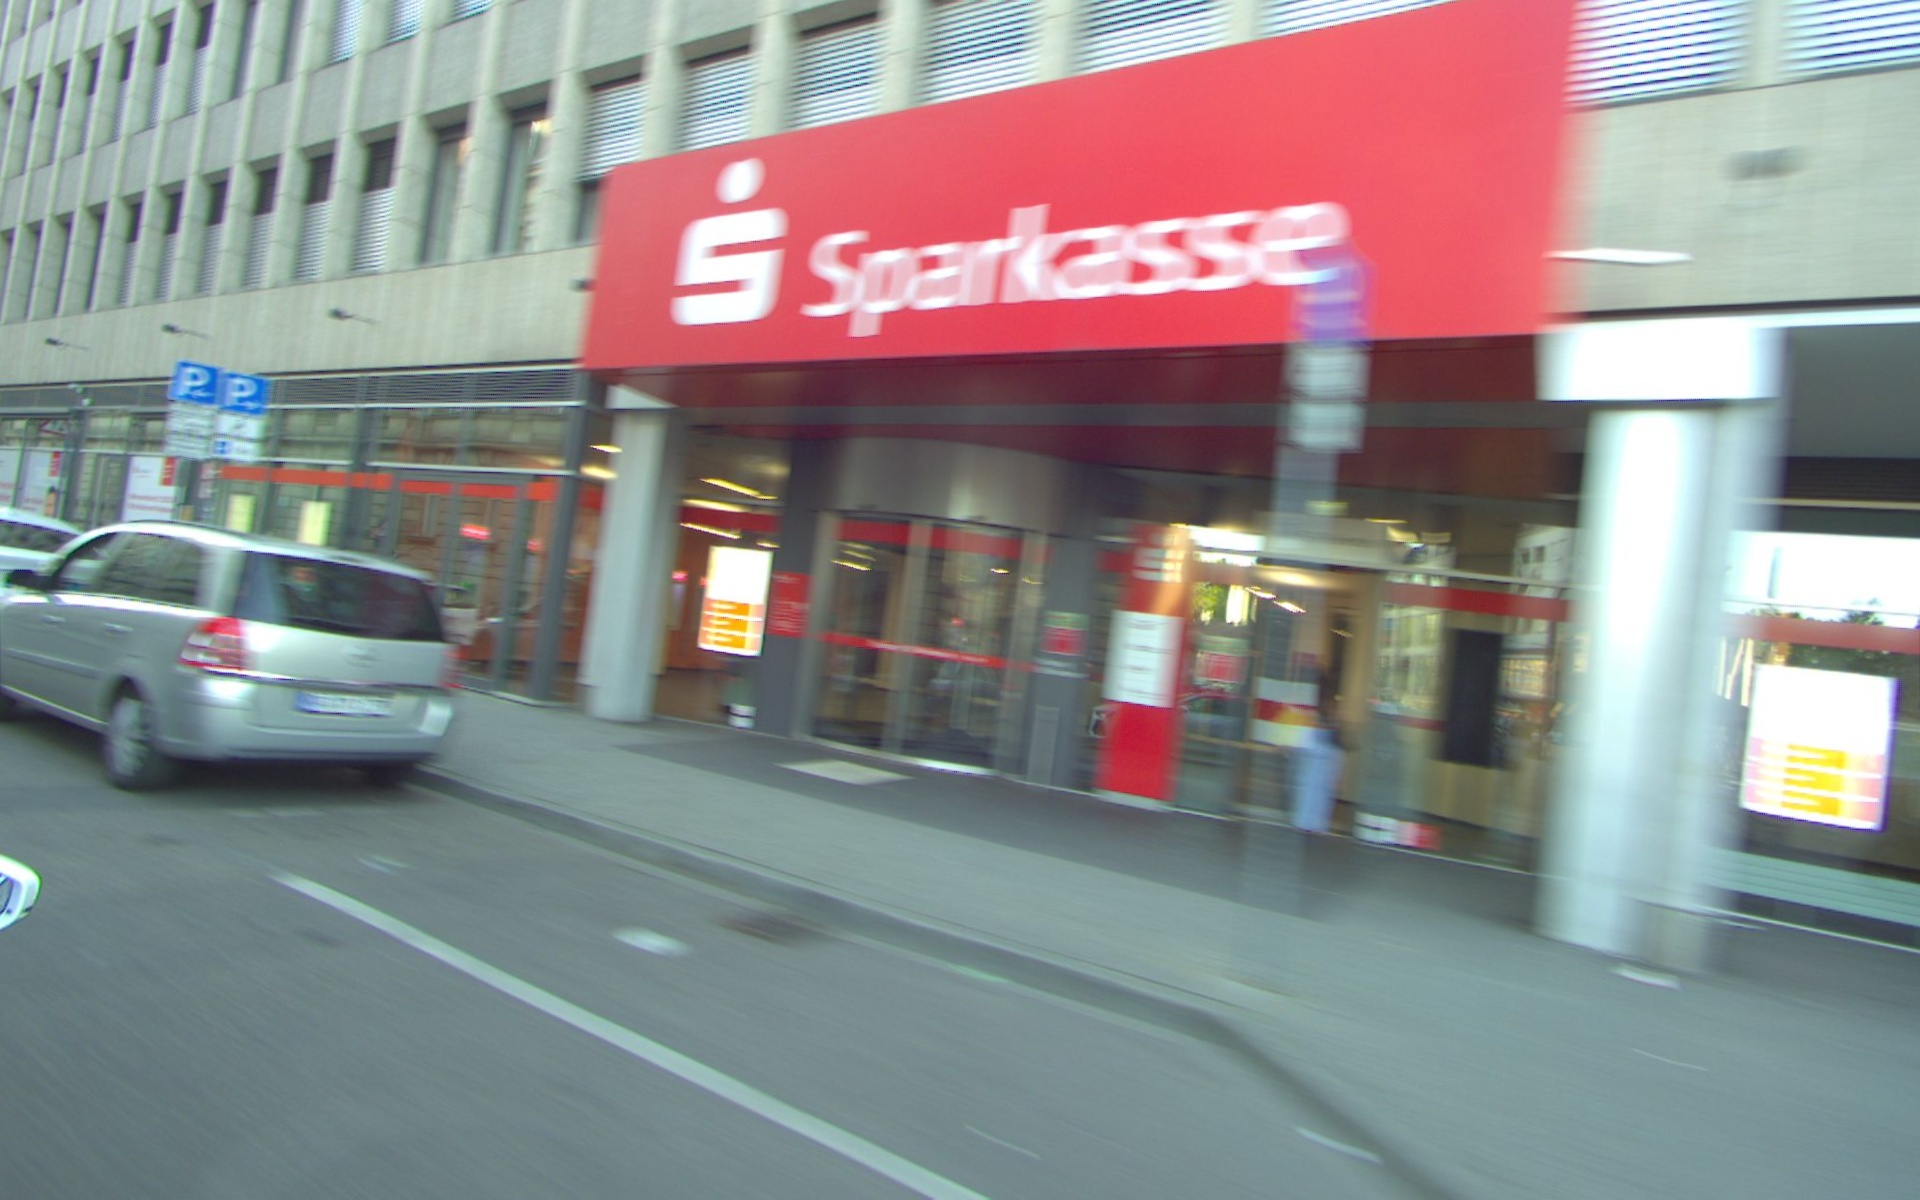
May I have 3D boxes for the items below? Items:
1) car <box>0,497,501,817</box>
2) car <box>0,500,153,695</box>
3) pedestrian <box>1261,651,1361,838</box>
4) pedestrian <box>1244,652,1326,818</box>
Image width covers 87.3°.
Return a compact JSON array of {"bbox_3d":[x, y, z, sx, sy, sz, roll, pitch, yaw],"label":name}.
[{"bbox_3d":[-5.681,0.278,7.391,4.636,1.615,1.745,6,-4,32],"label":"car"},{"bbox_3d":[-10.577,-0.212,10.324,4.731,1.683,1.782,5,-4,29],"label":"car"},{"bbox_3d":[3.475,1.408,9.974,0.716,1.679,0.691,7,-2,20],"label":"pedestrian"},{"bbox_3d":[3.597,1.469,11.102,0.638,1.679,0.743,7,-3,22],"label":"pedestrian"}]
